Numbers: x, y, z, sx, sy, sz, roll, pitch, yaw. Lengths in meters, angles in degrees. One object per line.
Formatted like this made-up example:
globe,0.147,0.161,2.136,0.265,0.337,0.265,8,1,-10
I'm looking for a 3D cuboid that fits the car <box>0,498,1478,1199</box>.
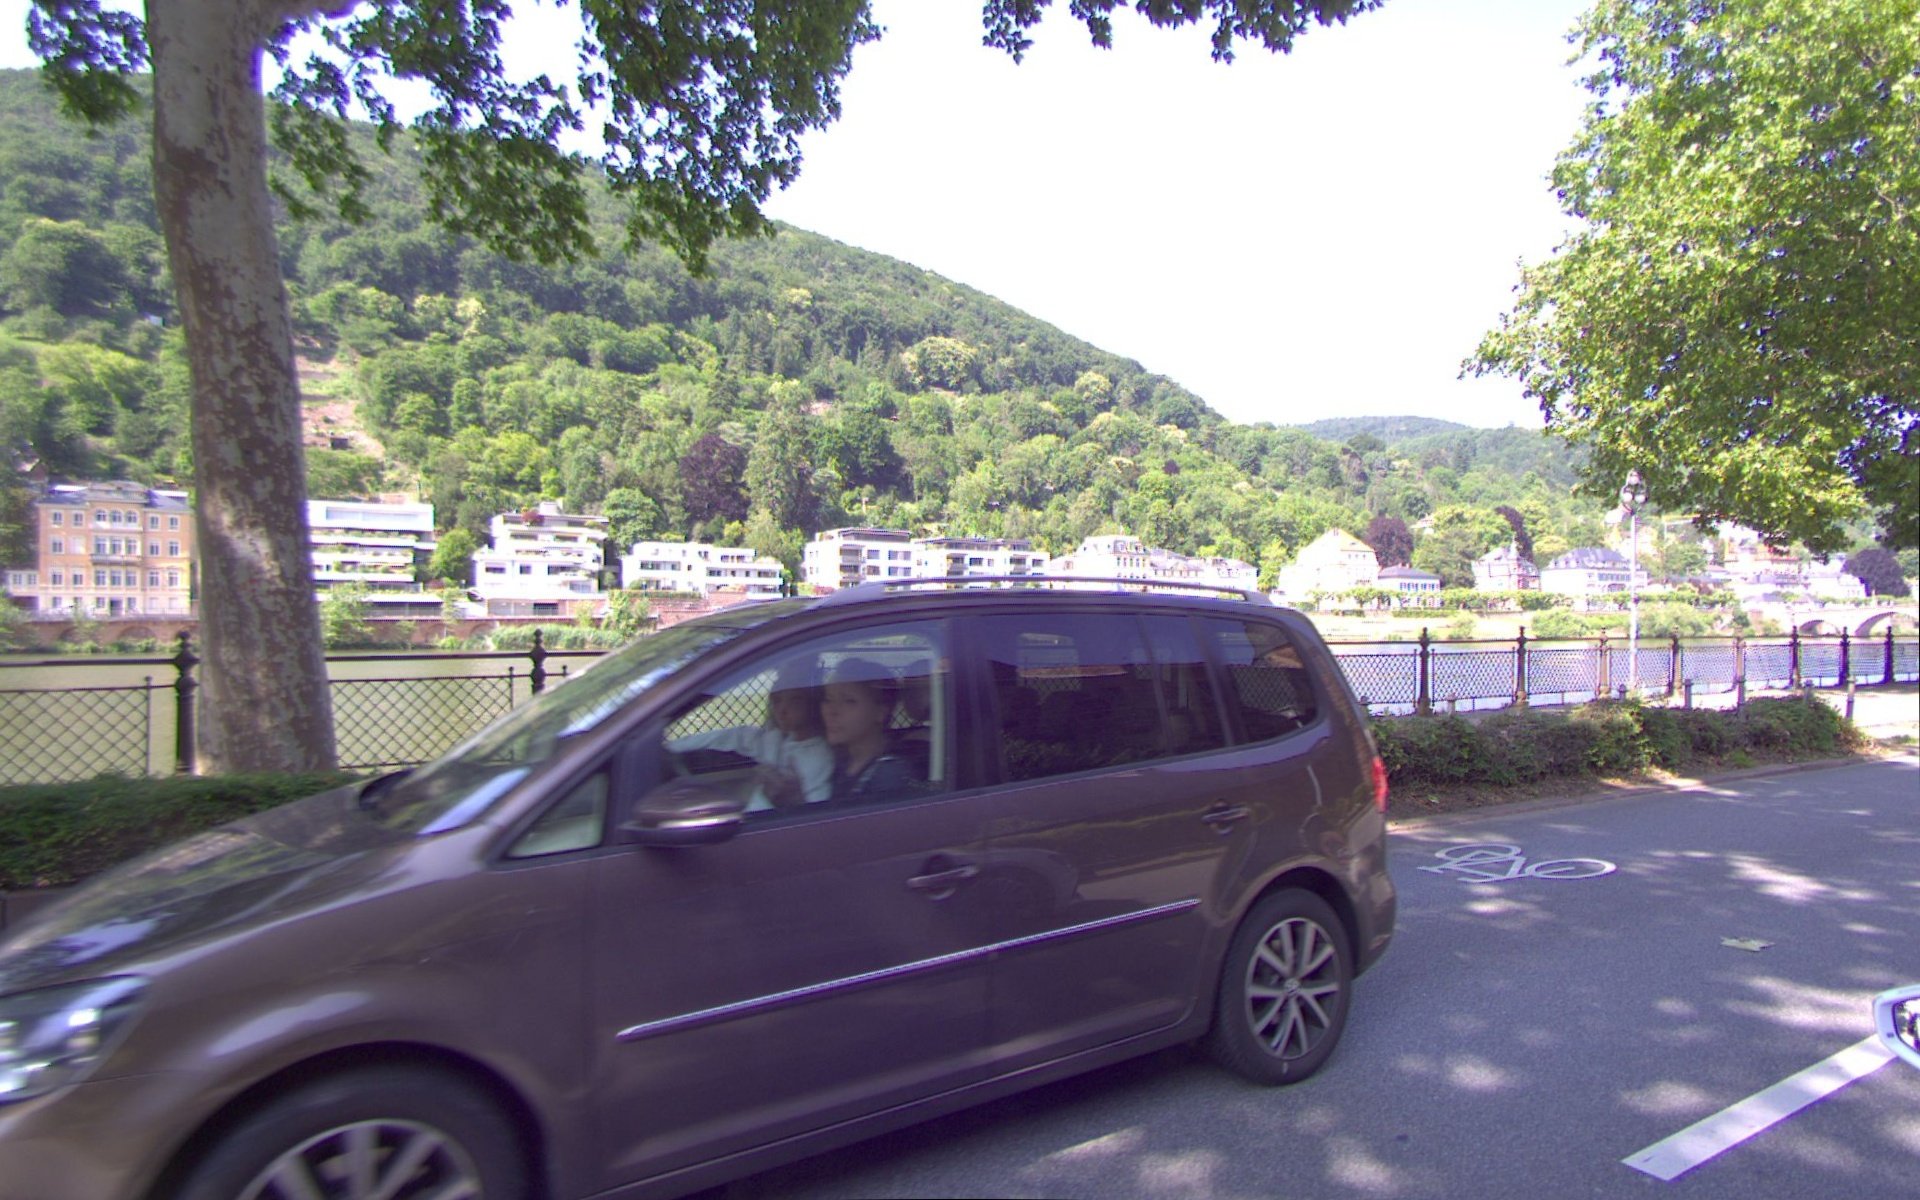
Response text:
car,-0.321,0.726,3.387,4.041,1.669,1.756,1,-3,-30
